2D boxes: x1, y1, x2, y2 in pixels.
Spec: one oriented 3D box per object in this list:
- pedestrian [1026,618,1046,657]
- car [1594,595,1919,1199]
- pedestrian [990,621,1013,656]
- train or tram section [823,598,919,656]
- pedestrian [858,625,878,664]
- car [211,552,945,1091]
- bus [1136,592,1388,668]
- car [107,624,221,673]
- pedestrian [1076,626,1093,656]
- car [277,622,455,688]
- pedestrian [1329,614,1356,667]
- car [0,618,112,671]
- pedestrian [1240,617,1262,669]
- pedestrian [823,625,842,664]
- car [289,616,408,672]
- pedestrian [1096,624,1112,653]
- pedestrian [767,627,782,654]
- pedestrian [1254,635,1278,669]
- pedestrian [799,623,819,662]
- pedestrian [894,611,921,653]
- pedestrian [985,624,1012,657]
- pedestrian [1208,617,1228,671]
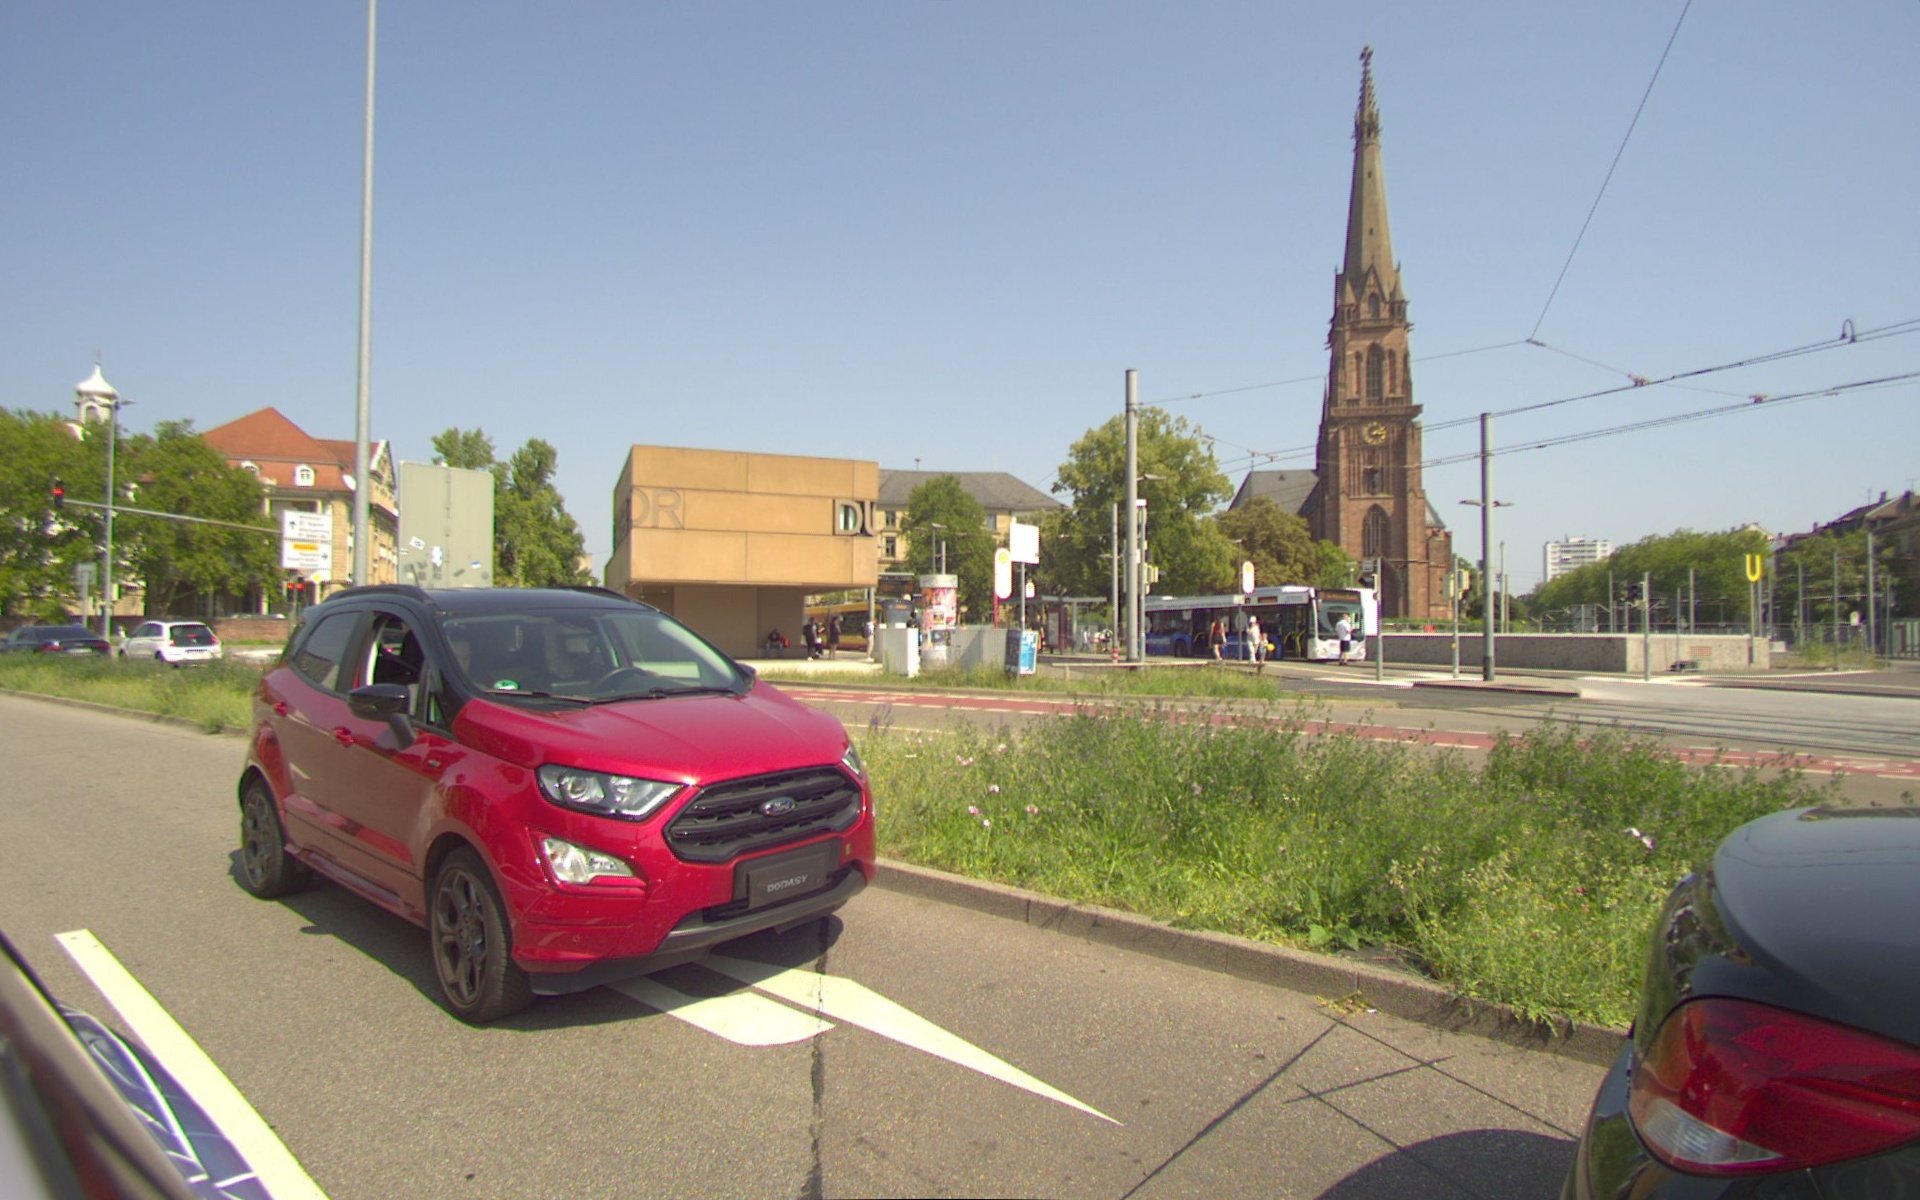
[{"bbox_3d":[3.612,1.802,48.314,0.792,1.837,0.535,1,-2,-21],"label":"pedestrian"},{"bbox_3d":[2.685,0.660,0.432,1.745,1.398,3.783,0,-1,-45],"label":"car"},{"bbox_3d":[2.184,2.009,52.900,0.913,1.837,0.940,1,-2,-21],"label":"pedestrian"},{"bbox_3d":[-6.197,1.805,67.330,2.658,3.465,13.463,1,-2,-21],"label":"train or tram section"},{"bbox_3d":[-3.621,1.756,39.886,0.541,1.508,0.532,-1,-3,39],"label":"pedestrian"},{"bbox_3d":[-2.072,0.690,4.898,3.842,1.598,1.673,-2,-1,40],"label":"car"},{"bbox_3d":[12.098,1.279,42.703,3.346,2.733,12.382,1,-2,-21],"label":"bus"},{"bbox_3d":[-25.380,1.523,32.279,3.459,1.490,1.513,-1,-2,27],"label":"car"},{"bbox_3d":[6.970,2.283,56.685,0.780,1.645,0.757,0,-2,-10],"label":"pedestrian"},{"bbox_3d":[-15.587,1.389,26.506,4.697,1.597,1.979,-1,-2,31],"label":"car"},{"bbox_3d":[13.385,1.413,35.403,0.592,1.825,0.639,-1,0,-39],"label":"pedestrian"},{"bbox_3d":[-25.896,1.259,28.932,3.466,1.437,1.510,-1,-2,32],"label":"car"},{"bbox_3d":[9.888,1.450,34.394,0.534,1.724,0.686,-1,-2,31],"label":"pedestrian"},{"bbox_3d":[-5.032,1.737,39.876,0.541,1.508,0.532,-1,-3,39],"label":"pedestrian"},{"bbox_3d":[-21.441,1.511,35.473,3.898,1.868,1.851,0,-2,29],"label":"car"},{"bbox_3d":[8.489,2.264,59.601,0.750,1.645,0.931,-1,-2,20],"label":"pedestrian"},{"bbox_3d":[-7.481,1.634,40.790,0.530,1.108,0.543,1,-2,-18],"label":"pedestrian"},{"bbox_3d":[10.562,1.787,34.965,0.629,1.134,0.602,-1,0,-2],"label":"pedestrian"},{"bbox_3d":[-5.824,1.642,39.148,0.541,1.508,0.532,-1,-3,39],"label":"pedestrian"},{"bbox_3d":[-1.909,1.159,36.732,0.605,1.508,0.761,-1,-3,39],"label":"pedestrian"},{"bbox_3d":[2.018,2.111,52.862,1.060,1.709,1.068,1,-2,-21],"label":"pedestrian"},{"bbox_3d":[8.903,1.522,34.940,0.632,1.825,0.599,-1,0,16],"label":"pedestrian"}]
